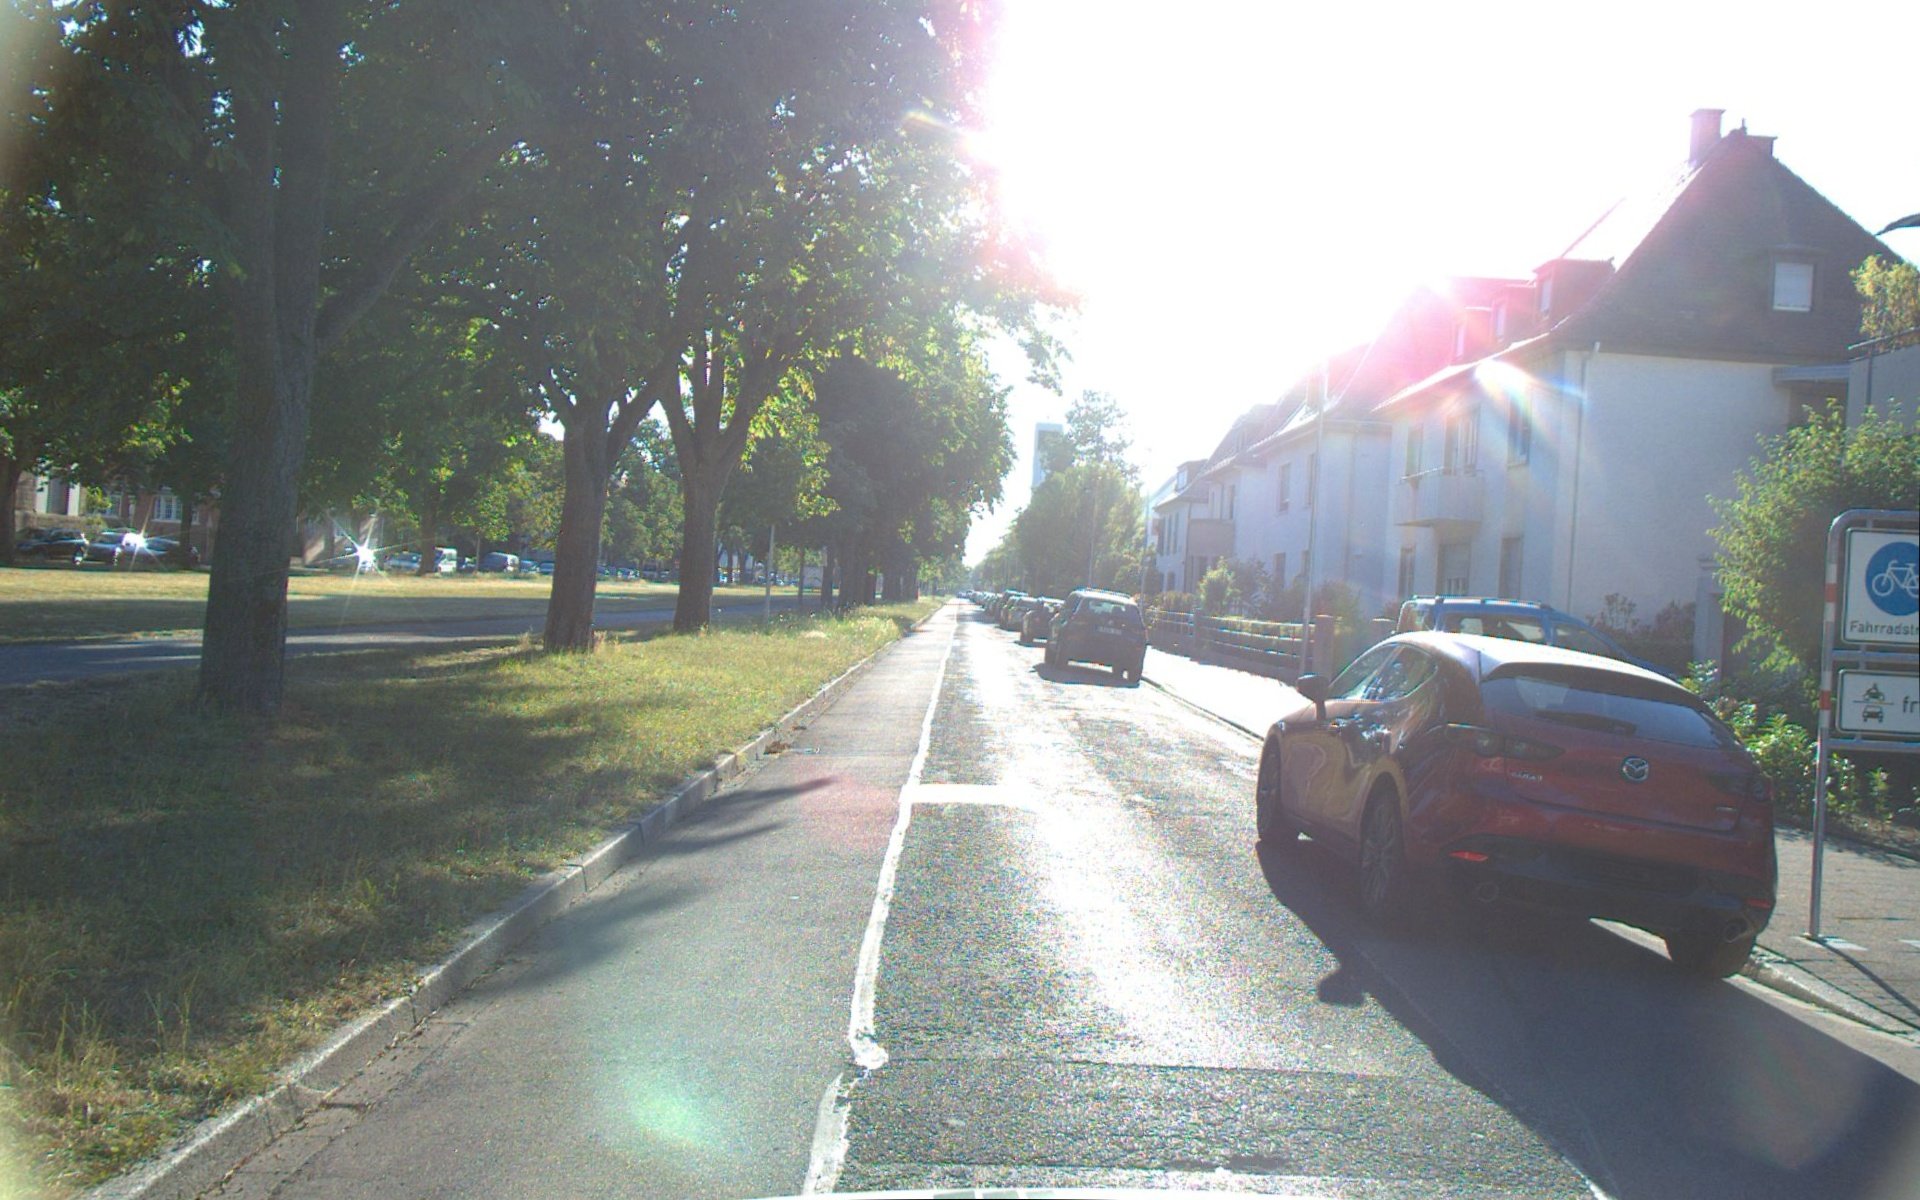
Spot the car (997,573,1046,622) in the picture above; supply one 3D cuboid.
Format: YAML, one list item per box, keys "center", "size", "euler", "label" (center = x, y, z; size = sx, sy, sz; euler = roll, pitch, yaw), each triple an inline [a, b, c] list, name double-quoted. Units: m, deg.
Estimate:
- center: [2.889, -0.082, 78.438]
  size: [1.954, 2.048, 3.999]
  euler: [6, -1, -1]
  label: "car"

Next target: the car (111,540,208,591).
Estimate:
- center: [-33.226, -1.406, 68.776]
  size: [1.775, 1.811, 4.122]
  euler: [6, -1, 1]
  label: "car"

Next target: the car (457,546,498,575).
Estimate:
- center: [-34.637, -2.792, 118.797]
  size: [1.694, 1.718, 3.877]
  euler: [6, -2, -2]
  label: "car"

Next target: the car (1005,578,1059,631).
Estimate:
- center: [3.137, 0.220, 72.769]
  size: [1.954, 2.048, 3.999]
  euler: [6, -1, -1]
  label: "car"

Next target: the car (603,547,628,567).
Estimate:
- center: [-40.008, -4.955, 192.228]
  size: [1.954, 1.946, 3.999]
  euler: [6, -1, 0]
  label: "car"

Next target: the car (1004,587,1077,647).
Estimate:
- center: [2.512, 0.538, 52.514]
  size: [1.953, 1.682, 3.999]
  euler: [4, -1, -1]
  label: "car"

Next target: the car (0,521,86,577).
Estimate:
- center: [-38.760, -2.124, 69.348]
  size: [1.954, 2.048, 3.998]
  euler: [6, -1, -2]
  label: "car"

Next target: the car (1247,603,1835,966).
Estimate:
- center: [2.858, 0.812, 9.190]
  size: [1.675, 1.382, 4.202]
  euler: [6, -1, 0]
  label: "car"

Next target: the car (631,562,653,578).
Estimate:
- center: [-39.912, -3.749, 207.509]
  size: [1.842, 1.782, 3.797]
  euler: [6, -1, 0]
  label: "car"

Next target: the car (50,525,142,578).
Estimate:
- center: [-38.988, -2.162, 74.761]
  size: [1.954, 2.048, 3.998]
  euler: [6, -1, -2]
  label: "car"

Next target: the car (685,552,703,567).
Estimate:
- center: [-39.585, -6.000, 245.826]
  size: [1.953, 2.048, 4.000]
  euler: [4, 0, 0]
  label: "car"

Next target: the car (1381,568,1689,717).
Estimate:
- center: [8.404, 0.672, 24.338]
  size: [3.909, 1.854, 1.758]
  euler: [4, -6, -5]
  label: "car"

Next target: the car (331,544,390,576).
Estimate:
- center: [-37.957, -2.522, 104.821]
  size: [1.953, 1.687, 4.355]
  euler: [6, -1, 1]
  label: "car"

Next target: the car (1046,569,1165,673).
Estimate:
- center: [2.988, 0.396, 34.944]
  size: [1.953, 1.936, 4.389]
  euler: [4, 0, -1]
  label: "car"

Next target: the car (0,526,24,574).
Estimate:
- center: [-38.709, -2.065, 64.652]
  size: [1.827, 1.833, 3.915]
  euler: [6, -1, 0]
  label: "car"

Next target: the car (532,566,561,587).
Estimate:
- center: [-38.962, -2.200, 155.847]
  size: [1.695, 1.792, 3.345]
  euler: [6, -1, 0]
  label: "car"

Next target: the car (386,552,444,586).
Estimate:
- center: [-32.718, -1.844, 99.445]
  size: [1.982, 1.687, 3.984]
  euler: [6, -1, 0]
  label: "car"

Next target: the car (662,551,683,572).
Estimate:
- center: [-32.341, -4.347, 186.099]
  size: [1.621, 1.971, 3.566]
  euler: [6, -2, -1]
  label: "car"

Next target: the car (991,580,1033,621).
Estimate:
- center: [2.893, 0.066, 92.658]
  size: [1.954, 2.048, 3.999]
  euler: [6, -1, -1]
  label: "car"
